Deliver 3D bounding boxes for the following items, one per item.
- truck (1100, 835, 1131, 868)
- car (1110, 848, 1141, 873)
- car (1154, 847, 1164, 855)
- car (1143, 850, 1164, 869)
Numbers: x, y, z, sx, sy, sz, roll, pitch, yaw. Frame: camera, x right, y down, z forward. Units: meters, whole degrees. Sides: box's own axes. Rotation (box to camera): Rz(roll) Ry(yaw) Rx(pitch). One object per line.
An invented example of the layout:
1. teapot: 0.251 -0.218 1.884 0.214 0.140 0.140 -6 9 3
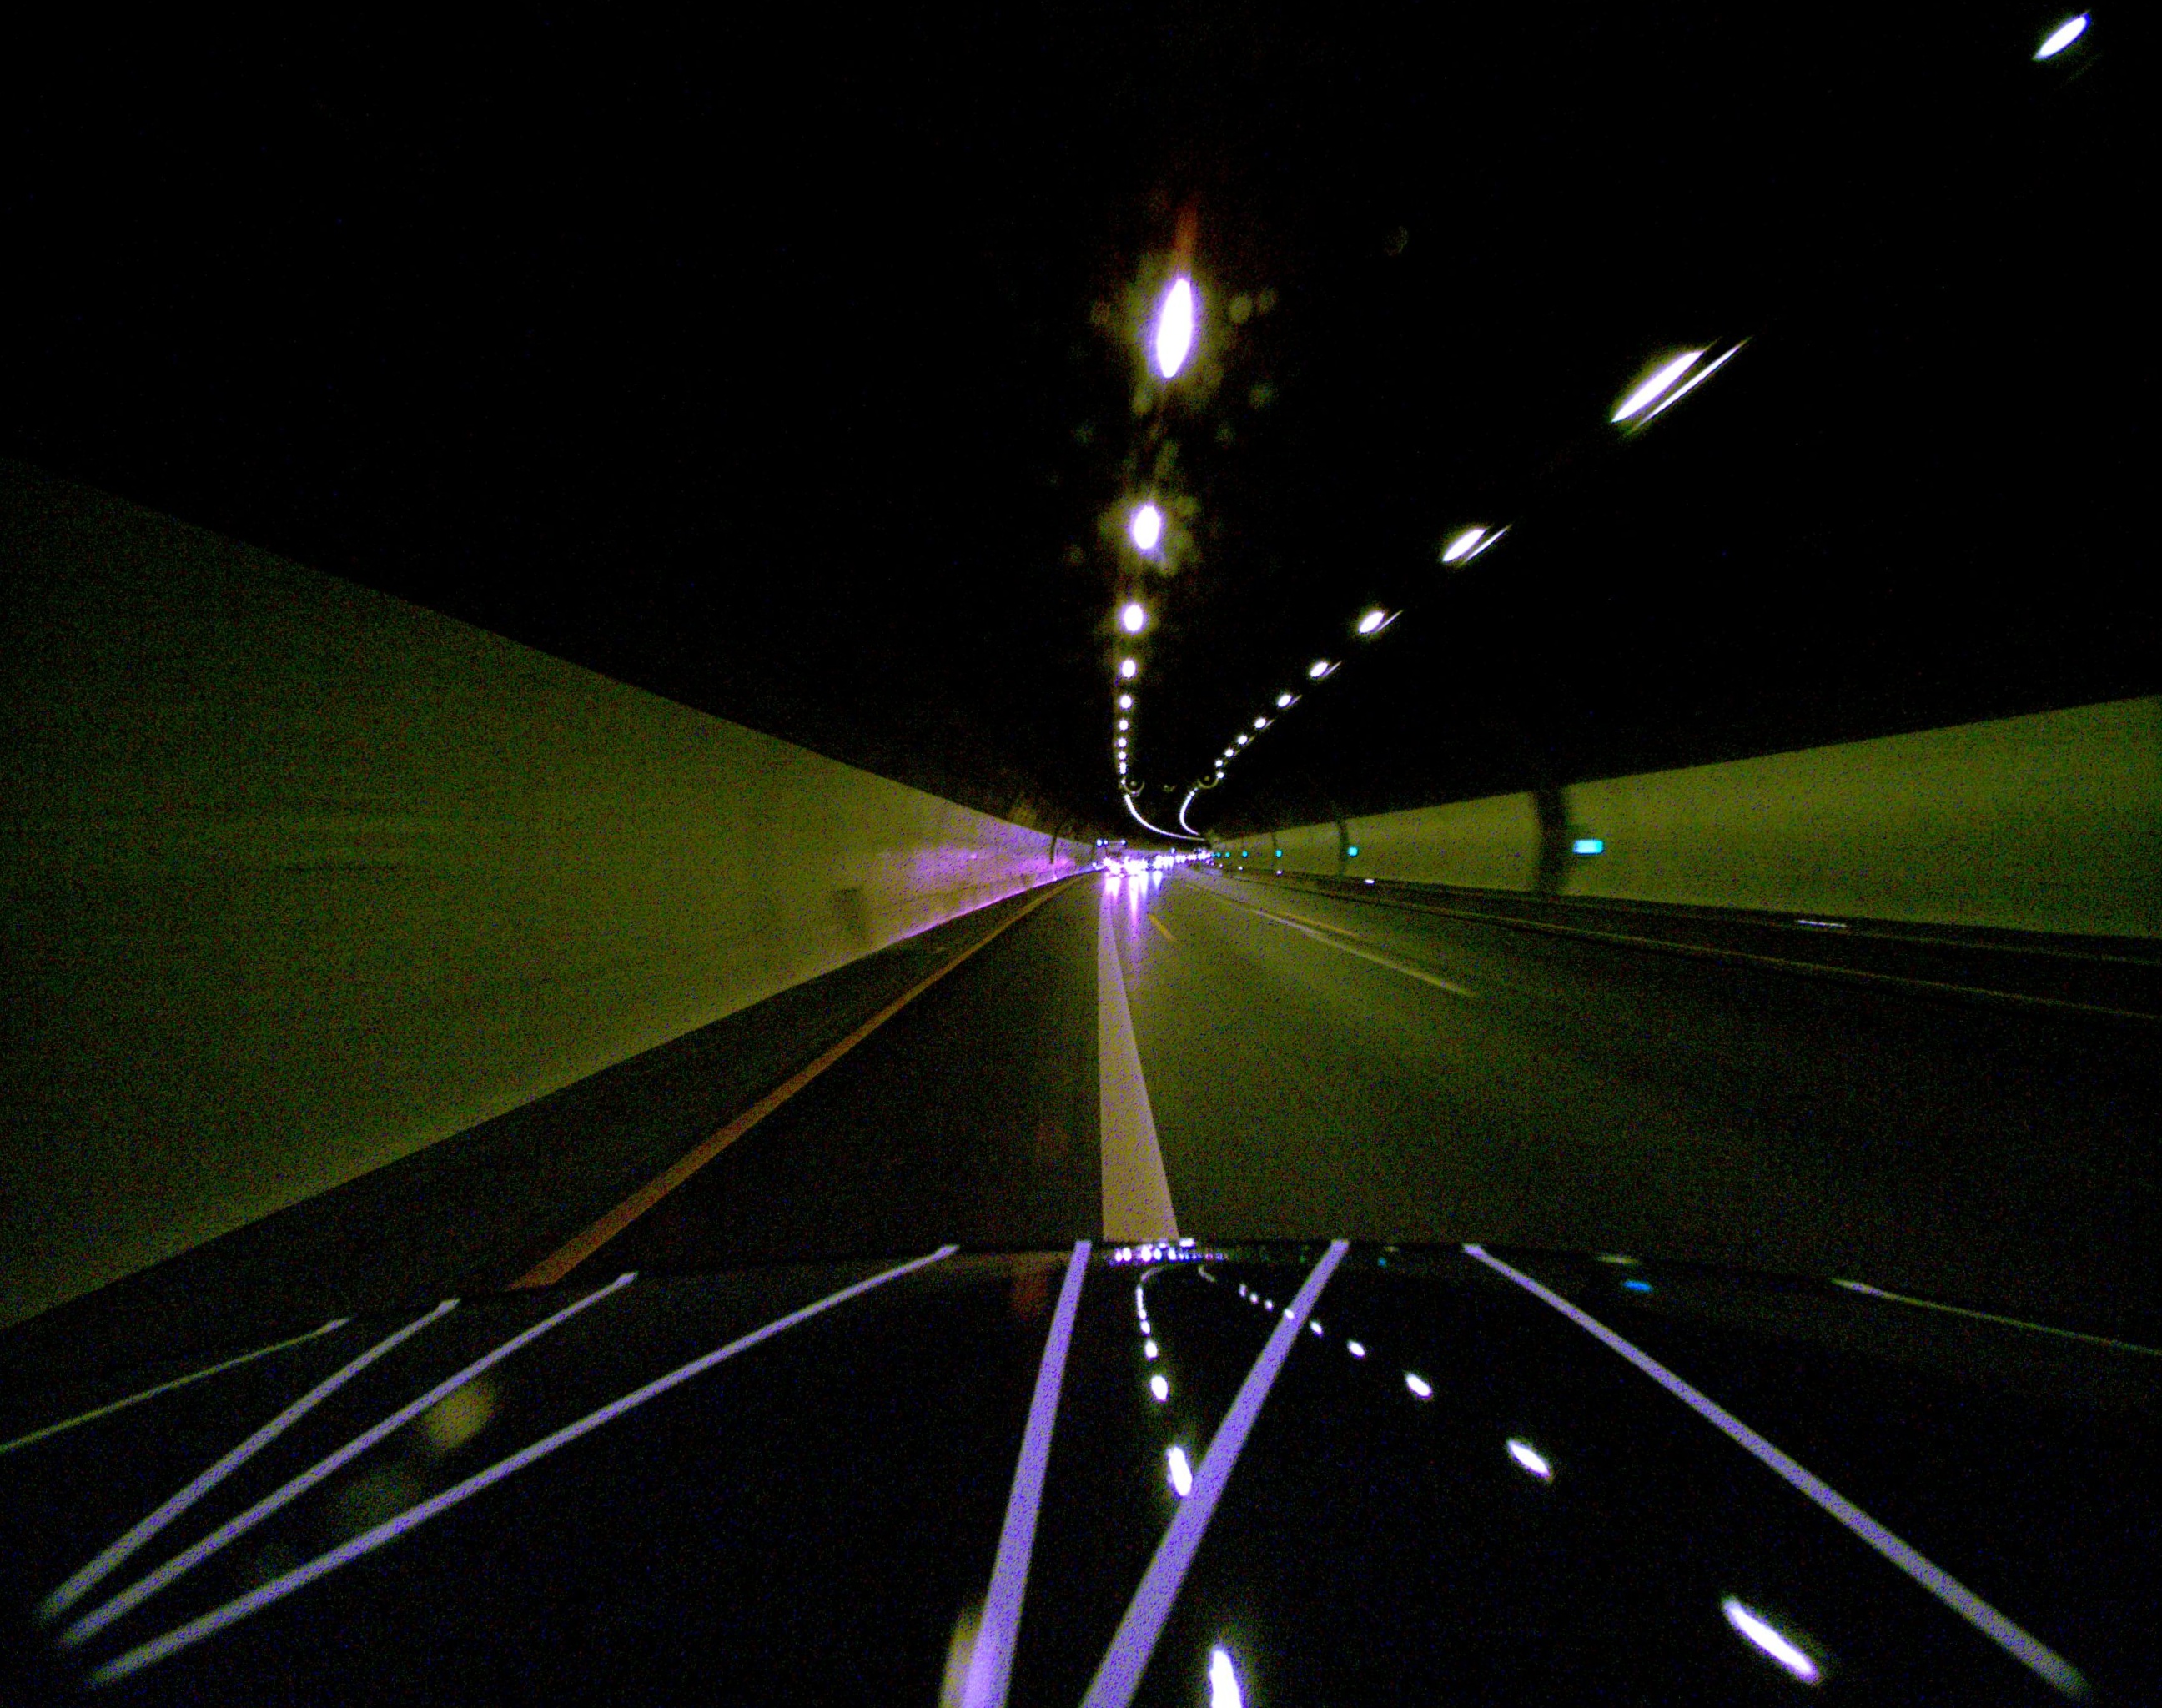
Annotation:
1. truck: 3.907 -0.276 83.141 2.988 3.161 10.510 -3 0 4
2. car: 3.523 0.477 59.292 2.171 1.709 4.483 -3 0 6
3. car: 18.592 -0.725 180.906 1.997 1.917 4.388 -3 0 11
4. car: 7.436 0.564 77.638 1.998 1.655 4.001 -4 1 7
